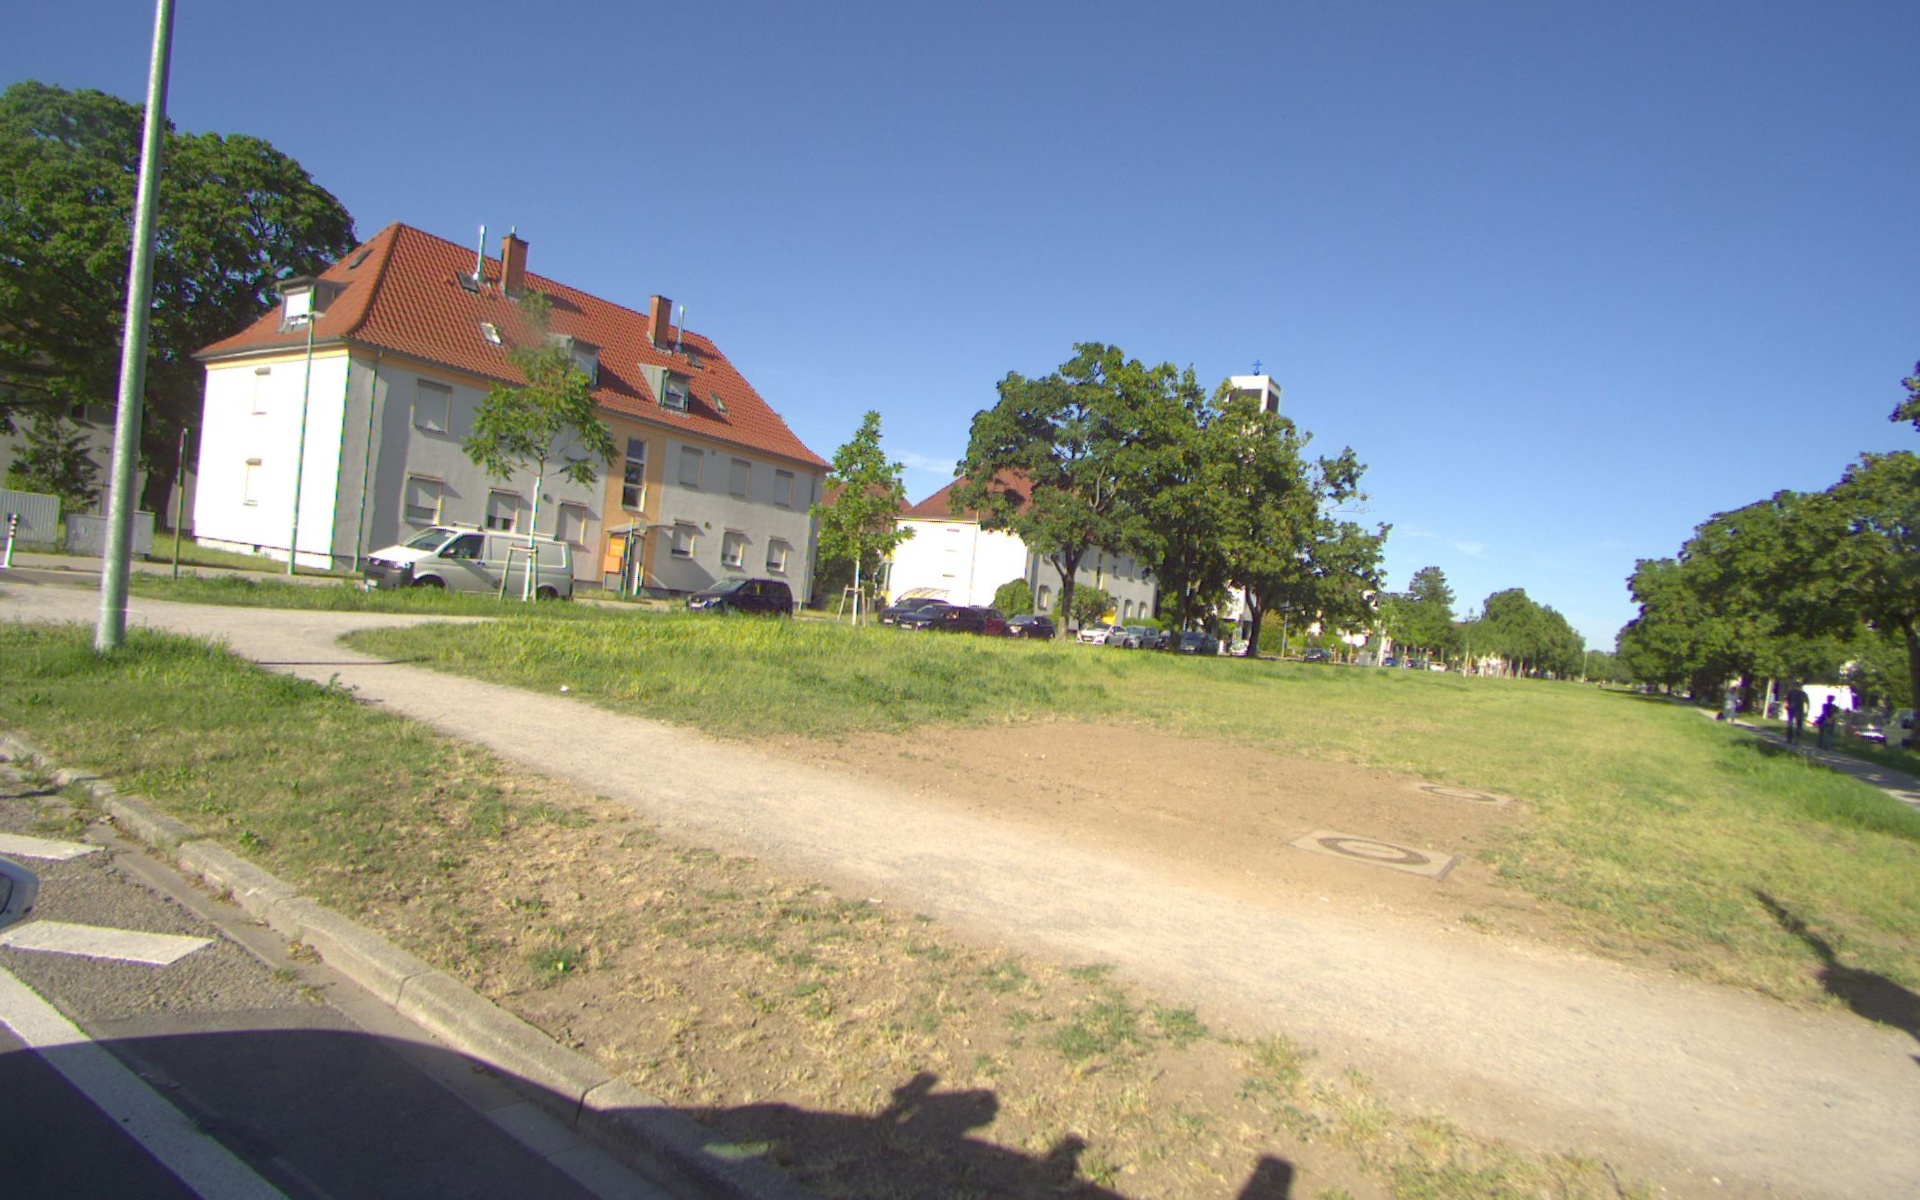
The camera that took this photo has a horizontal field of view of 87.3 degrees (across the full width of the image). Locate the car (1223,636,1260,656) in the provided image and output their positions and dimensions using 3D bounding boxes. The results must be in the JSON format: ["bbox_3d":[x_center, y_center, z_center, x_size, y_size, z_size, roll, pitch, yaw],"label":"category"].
[{"bbox_3d":[23.684,3.870,84.616,1.694,1.358,3.797,7,0,34],"label":"car"}]

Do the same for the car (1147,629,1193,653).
[{"bbox_3d":[14.693,2.860,70.382,1.694,1.358,3.797,7,0,34],"label":"car"}]

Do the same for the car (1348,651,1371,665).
[{"bbox_3d":[48.676,7.047,122.411,1.694,1.358,3.797,7,0,34],"label":"car"}]

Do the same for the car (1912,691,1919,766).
[{"bbox_3d":[34.024,4.450,33.889,2.160,2.615,4.274,2,-2,35],"label":"car"}]

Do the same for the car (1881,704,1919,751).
[{"bbox_3d":[37.979,5.078,39.460,2.053,1.619,4.274,7,0,35],"label":"car"}]

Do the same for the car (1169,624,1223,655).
[{"bbox_3d":[15.333,2.570,65.187,1.859,1.628,4.234,7,0,35],"label":"car"}]

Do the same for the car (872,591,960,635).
[{"bbox_3d":[-1.922,0.601,45.221,1.694,1.603,4.128,7,0,34],"label":"car"}]

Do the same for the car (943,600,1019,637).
[{"bbox_3d":[1.094,0.937,50.056,1.694,1.460,4.128,7,0,34],"label":"car"}]

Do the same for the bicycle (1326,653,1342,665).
[{"bbox_3d":[36.980,5.836,99.485,1.036,0.949,2.759,7,0,30],"label":"bicycle"}]

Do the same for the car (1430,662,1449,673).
[{"bbox_3d":[69.658,9.770,146.133,1.694,1.358,3.797,7,0,34],"label":"car"}]

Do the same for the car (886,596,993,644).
[{"bbox_3d":[-0.758,0.859,41.158,1.968,1.543,4.743,7,0,33],"label":"car"}]

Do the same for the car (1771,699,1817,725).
[{"bbox_3d":[60.520,8.113,73.090,2.049,1.484,4.712,7,0,35],"label":"car"}]

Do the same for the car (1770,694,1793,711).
[{"bbox_3d":[103.216,12.851,126.424,1.837,1.868,3.981,7,0,35],"label":"car"}]

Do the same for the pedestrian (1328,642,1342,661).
[{"bbox_3d":[37.106,5.120,99.556,1.036,1.731,0.691,7,1,30],"label":"pedestrian"}]

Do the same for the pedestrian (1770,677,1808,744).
[{"bbox_3d":[24.789,3.284,30.087,0.634,1.900,0.627,7,2,33],"label":"pedestrian"}]

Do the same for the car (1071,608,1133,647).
[{"bbox_3d":[8.727,1.704,61.591,1.842,2.039,4.243,7,0,34],"label":"car"}]

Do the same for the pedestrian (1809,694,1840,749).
[{"bbox_3d":[25.333,3.544,29.483,0.489,1.524,0.533,7,2,35],"label":"pedestrian"}]

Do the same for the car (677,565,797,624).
[{"bbox_3d":[-7.967,-0.157,36.289,1.694,1.685,4.052,7,0,34],"label":"car"}]

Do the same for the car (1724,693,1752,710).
[{"bbox_3d":[85.781,11.213,110.920,2.049,1.484,4.712,7,0,35],"label":"car"}]

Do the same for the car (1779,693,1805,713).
[{"bbox_3d":[95.784,11.853,115.840,1.836,1.869,3.981,8,2,35],"label":"car"}]

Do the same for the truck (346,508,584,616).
[{"bbox_3d":[-12.151,-0.865,25.029,1.968,2.061,4.860,7,0,34],"label":"truck"}]

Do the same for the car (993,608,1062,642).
[{"bbox_3d":[3.677,1.353,53.996,1.694,1.460,4.128,7,0,34],"label":"car"}]

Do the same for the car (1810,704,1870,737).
[{"bbox_3d":[48.264,6.573,55.247,1.904,1.361,4.096,7,0,35],"label":"car"}]

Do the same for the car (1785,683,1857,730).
[{"bbox_3d":[51.783,6.335,60.664,2.511,2.363,5.900,7,0,35],"label":"car"}]

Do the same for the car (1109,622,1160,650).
[{"bbox_3d":[11.416,2.355,65.638,1.694,1.517,3.797,7,0,34],"label":"car"}]

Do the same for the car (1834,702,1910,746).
[{"bbox_3d":[43.979,5.945,48.601,2.053,1.619,4.274,7,0,35],"label":"car"}]

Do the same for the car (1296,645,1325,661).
[{"bbox_3d":[35.887,5.435,102.912,1.694,1.358,3.797,7,0,34],"label":"car"}]

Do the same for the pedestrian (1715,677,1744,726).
[{"bbox_3d":[31.662,4.175,41.423,0.713,1.900,0.627,7,1,33],"label":"pedestrian"}]
